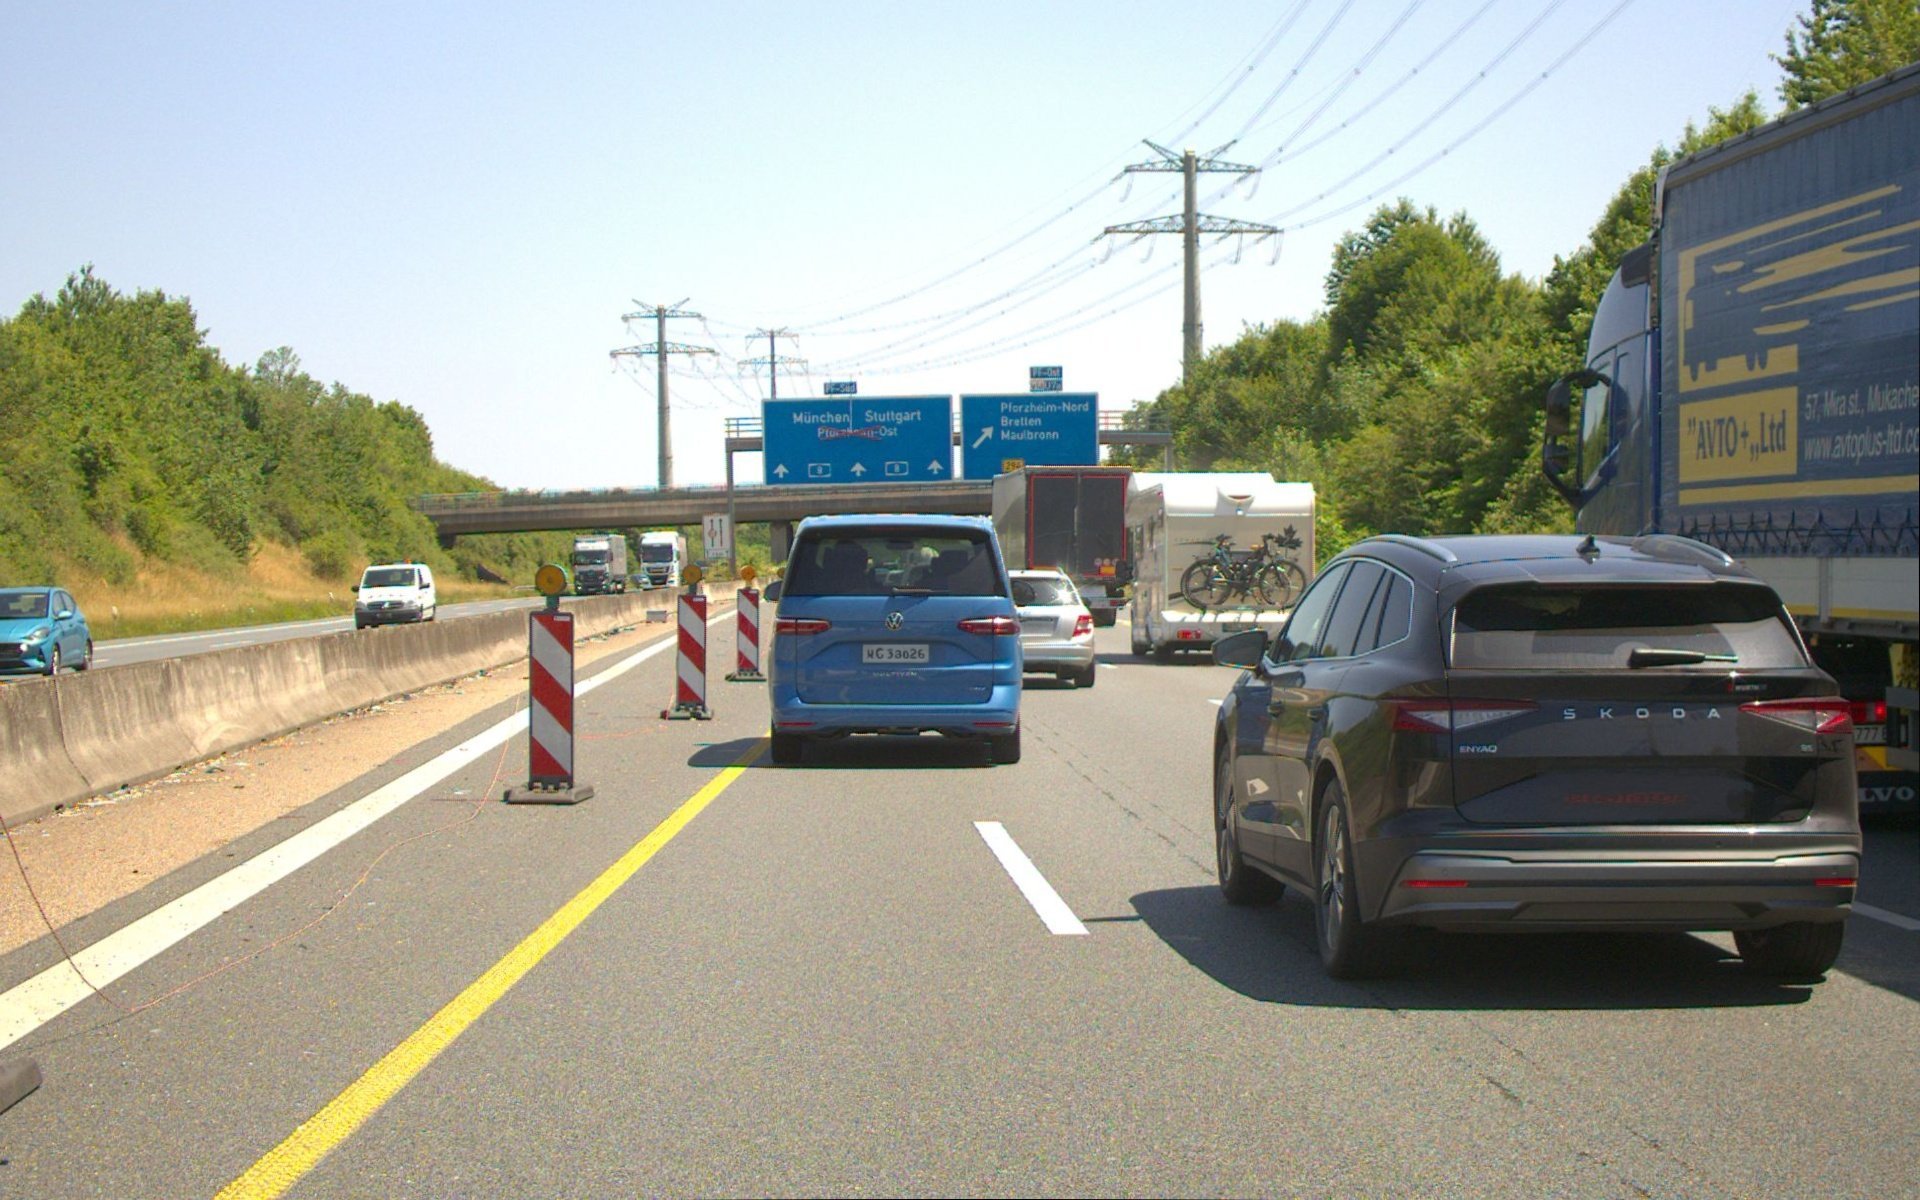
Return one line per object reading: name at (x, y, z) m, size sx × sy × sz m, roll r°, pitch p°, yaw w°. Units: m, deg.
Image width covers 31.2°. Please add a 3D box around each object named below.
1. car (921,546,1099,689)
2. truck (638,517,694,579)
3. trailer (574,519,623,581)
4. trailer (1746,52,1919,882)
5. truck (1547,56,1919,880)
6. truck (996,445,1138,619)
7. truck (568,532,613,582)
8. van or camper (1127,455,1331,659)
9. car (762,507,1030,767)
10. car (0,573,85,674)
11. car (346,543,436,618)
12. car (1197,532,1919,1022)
car at (0.565, 0.169, 42.596) m, size 1.895 × 1.504 × 4.443 m, roll 2°, pitch 2°, yaw -3°
truck at (-20.527, -3.638, 240.486) m, size 3.164 × 4.210 × 7.415 m, roll -1°, pitch 1°, yaw 0°
trailer at (-25.227, -3.477, 240.459) m, size 2.480 × 4.166 × 12.086 m, roll -1°, pitch 1°, yaw -2°
trailer at (6.345, -0.608, 14.000) m, size 3.065 × 4.029 × 11.489 m, roll 0°, pitch 1°, yaw -3°
truck at (5.951, -0.701, 20.957) m, size 3.024 × 4.073 × 7.796 m, roll 0°, pitch 1°, yaw -3°
truck at (2.645, -1.704, 89.313) m, size 3.077 × 4.132 × 13.055 m, roll 1°, pitch 1°, yaw -1°
truck at (-24.951, -2.935, 232.589) m, size 2.464 × 3.277 × 6.925 m, roll -2°, pitch 1°, yaw -2°
van or camper at (4.094, -0.676, 53.482) m, size 2.586 × 2.958 × 6.085 m, roll 1°, pitch 1°, yaw -1°
car at (-0.563, 0.266, 27.128) m, size 1.895 × 1.835 × 4.443 m, roll 1°, pitch 0°, yaw -3°
car at (-14.994, 0.351, 54.283) m, size 1.889 × 1.512 × 3.481 m, roll 0°, pitch 1°, yaw -8°
car at (-16.473, -0.587, 99.750) m, size 1.963 × 2.078 × 4.939 m, roll -1°, pitch 1°, yaw -2°
car at (2.139, 0.544, 13.486) m, size 1.895 × 1.586 × 4.443 m, roll 1°, pitch 1°, yaw -3°
